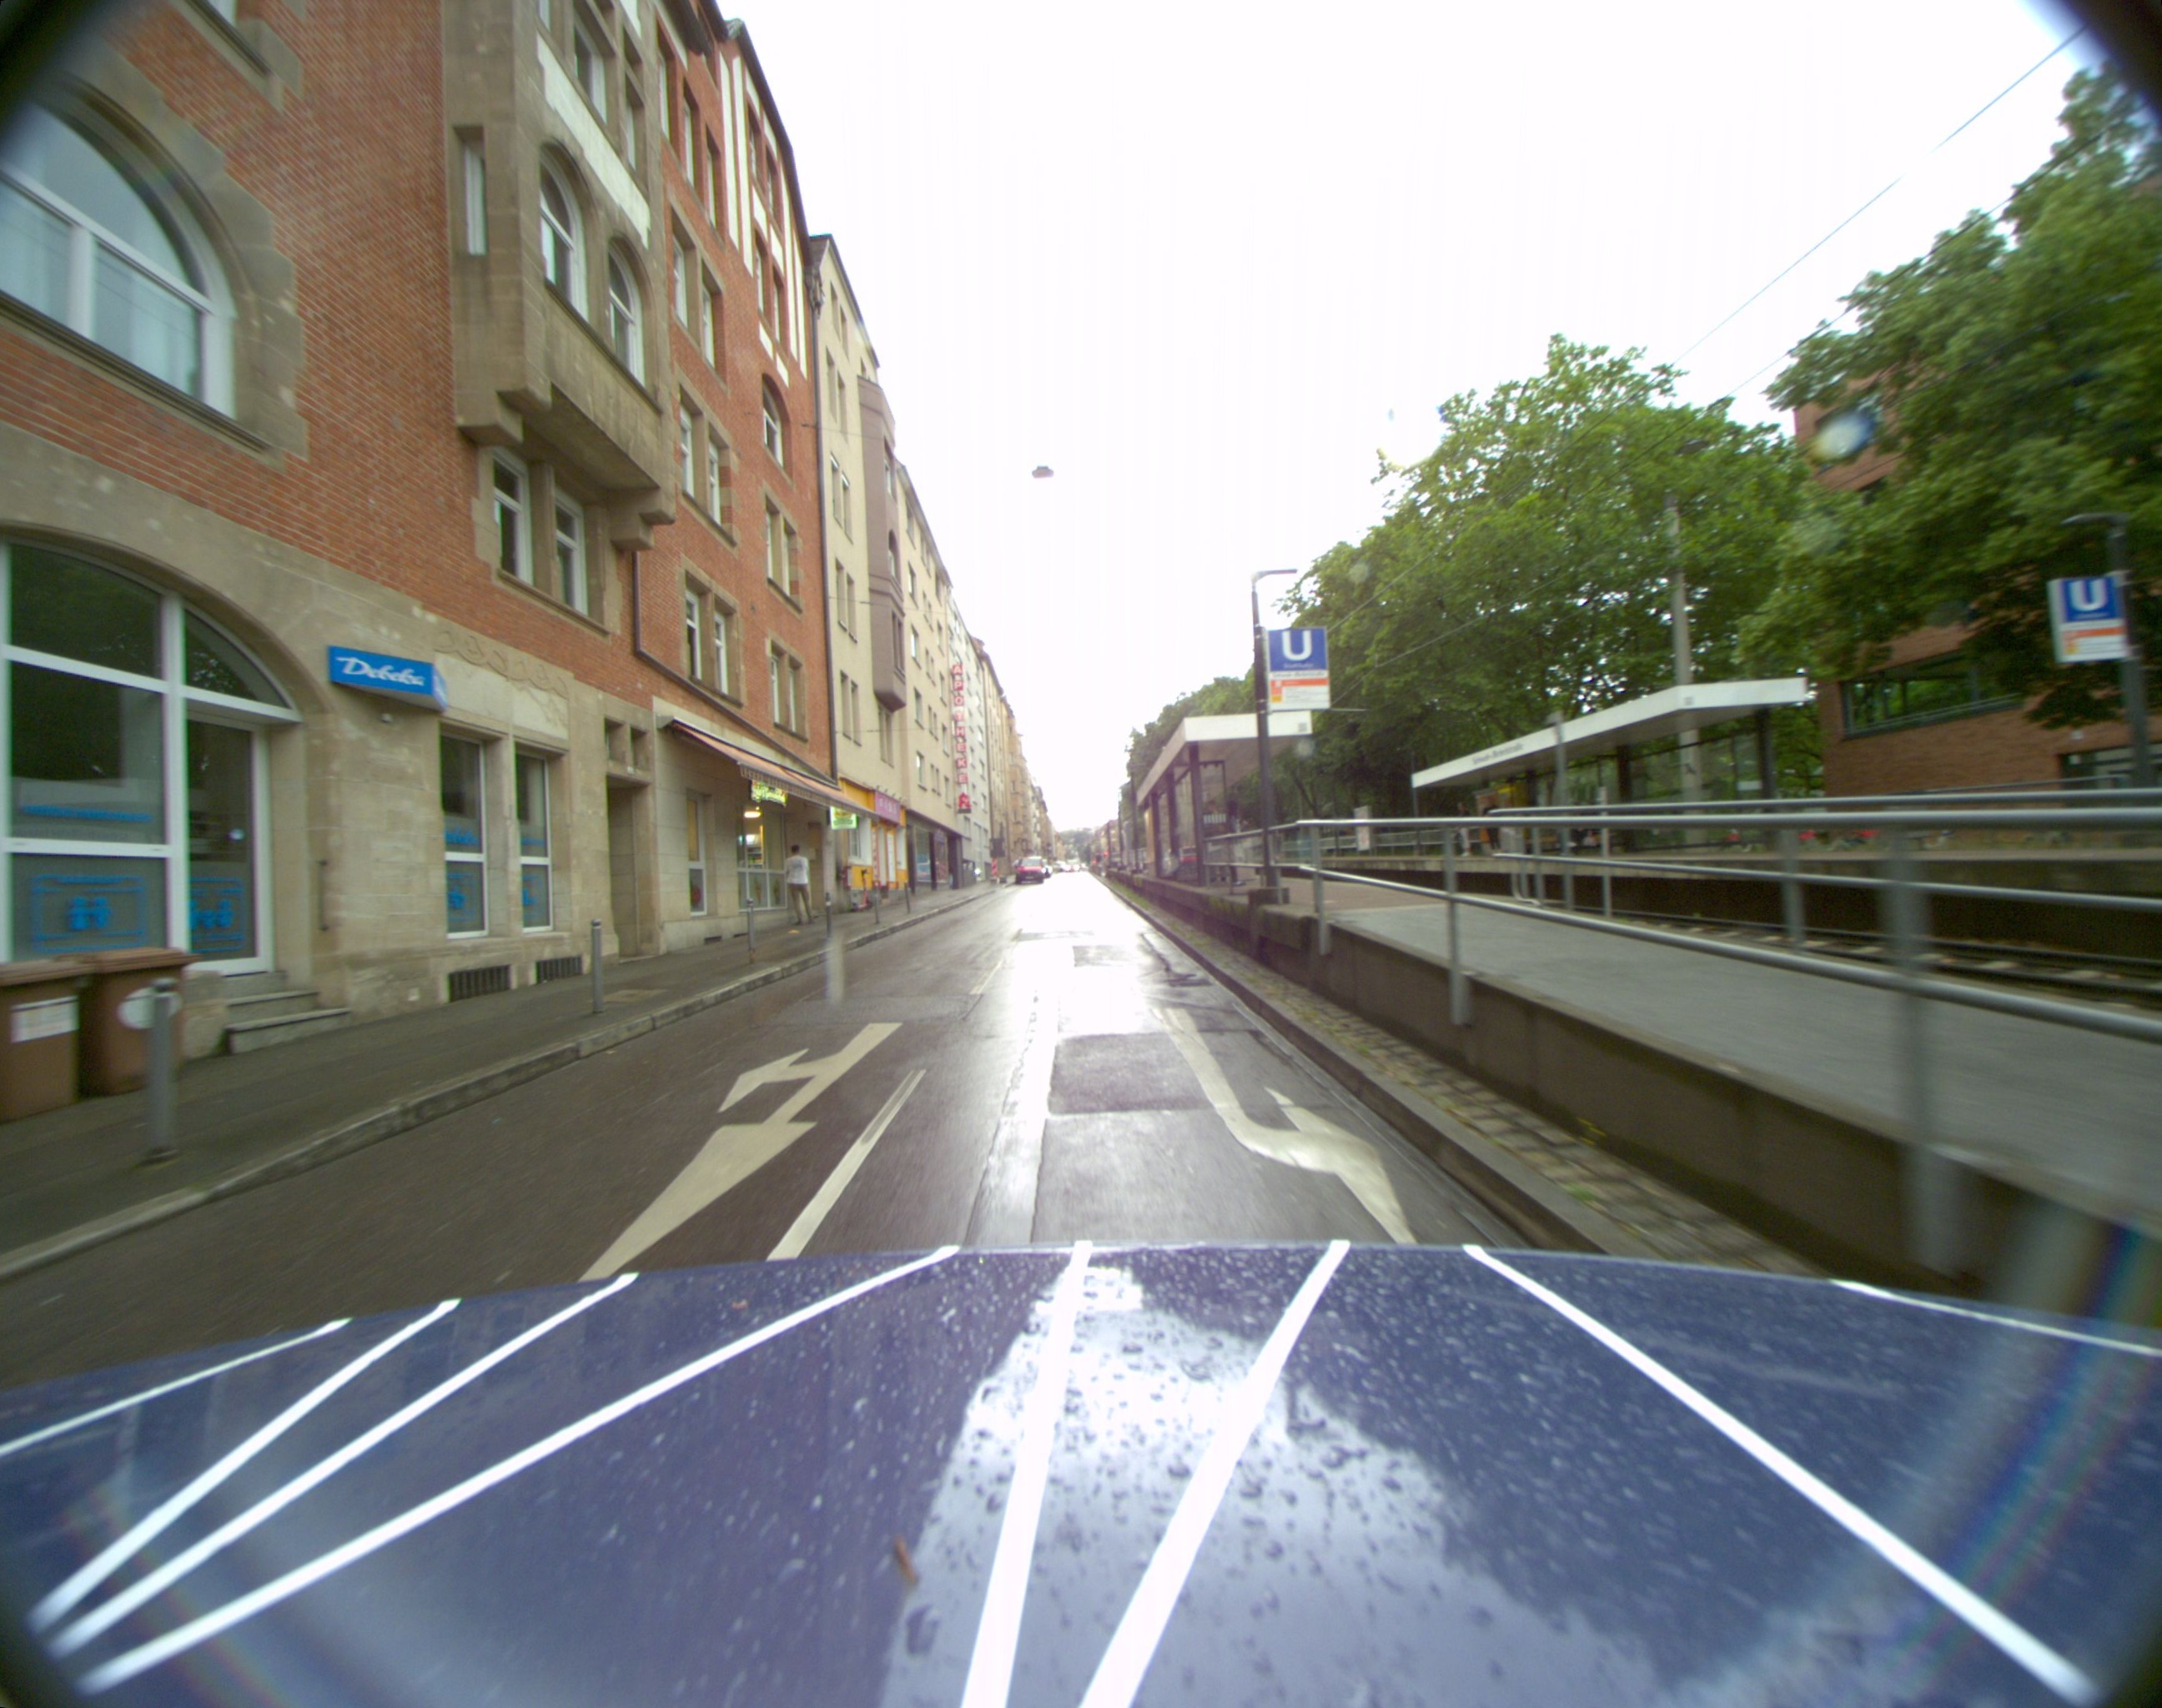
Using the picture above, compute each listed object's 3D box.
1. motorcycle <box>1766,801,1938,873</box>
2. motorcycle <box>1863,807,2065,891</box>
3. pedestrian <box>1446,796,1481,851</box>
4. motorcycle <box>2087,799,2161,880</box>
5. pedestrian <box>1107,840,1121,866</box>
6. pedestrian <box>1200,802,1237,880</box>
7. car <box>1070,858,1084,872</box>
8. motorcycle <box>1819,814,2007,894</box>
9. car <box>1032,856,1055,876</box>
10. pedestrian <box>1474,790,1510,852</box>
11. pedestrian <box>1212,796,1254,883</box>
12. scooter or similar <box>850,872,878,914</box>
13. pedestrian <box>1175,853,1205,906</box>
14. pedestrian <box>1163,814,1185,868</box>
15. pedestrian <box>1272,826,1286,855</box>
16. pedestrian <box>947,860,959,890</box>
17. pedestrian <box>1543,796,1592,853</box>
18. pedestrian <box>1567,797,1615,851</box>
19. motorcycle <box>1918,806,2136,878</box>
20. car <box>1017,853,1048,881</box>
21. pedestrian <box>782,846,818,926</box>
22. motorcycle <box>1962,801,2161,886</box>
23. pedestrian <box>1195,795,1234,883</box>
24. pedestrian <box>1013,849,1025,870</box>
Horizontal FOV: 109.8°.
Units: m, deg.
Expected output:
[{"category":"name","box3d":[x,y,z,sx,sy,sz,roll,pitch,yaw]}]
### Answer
[{"category":"motorcycle","box3d":[21.689,-0.459,21.424,3.874,1.763,1.006,-3,1,-2]},{"category":"motorcycle","box3d":[21.776,-0.119,18.787,3.874,1.805,1.006,-3,1,-2]},{"category":"pedestrian","box3d":[11.802,-0.921,23.465,0.688,1.631,0.564,-4,0,-2]},{"category":"motorcycle","box3d":[21.840,-0.366,14.565,3.874,1.479,1.006,-3,0,-2]},{"category":"pedestrian","box3d":[2.306,-0.075,53.082,0.861,1.788,0.787,-3,0,-1]},{"category":"pedestrian","box3d":[2.845,-0.265,15.721,0.615,1.572,0.507,-3,0,3]},{"category":"car","box3d":[-0.534,1.358,94.039,1.621,1.592,4.067,-2,-2,-1]},{"category":"motorcycle","box3d":[21.771,-0.003,19.936,3.874,1.805,1.006,-3,1,-2]},{"category":"car","box3d":[-3.401,1.077,69.954,1.770,1.698,4.499,-3,-1,0]},{"category":"pedestrian","box3d":[11.880,-0.939,21.979,0.564,1.705,0.706,-4,0,-2]},{"category":"pedestrian","box3d":[2.834,-0.260,14.210,0.615,1.572,0.507,-3,0,3]},{"category":"scooter or similar","box3d":[-6.438,1.143,22.573,0.258,1.214,1.195,-3,-1,9]},{"category":"pedestrian","box3d":[2.620,0.611,18.337,0.615,1.219,0.507,-3,0,3]},{"category":"pedestrian","box3d":[2.835,-0.379,23.125,0.496,1.595,0.637,-2,1,16]},{"category":"pedestrian","box3d":[11.495,-0.801,44.081,0.563,1.631,0.689,-4,0,6]},{"category":"pedestrian","box3d":[-7.081,1.149,41.983,0.483,1.635,0.330,-4,1,-27]},{"category":"pedestrian","box3d":[12.115,-0.730,18.930,0.779,1.354,0.564,-4,0,-2]},{"category":"pedestrian","box3d":[12.307,-0.711,18.350,0.705,1.233,0.564,-4,0,-2]},{"category":"motorcycle","box3d":[21.803,-0.267,17.556,3.874,1.399,1.006,-3,0,-2]},{"category":"car","box3d":[-3.390,0.872,53.784,1.980,1.827,5.244,-3,0,-2]},{"category":"pedestrian","box3d":[-6.545,0.723,17.681,0.562,1.820,0.580,2,2,43]},{"category":"motorcycle","box3d":[21.448,-0.235,16.355,3.874,1.596,1.006,-3,0,-2]},{"category":"pedestrian","box3d":[2.637,-0.291,15.090,0.615,1.678,0.587,-3,0,3]},{"category":"pedestrian","box3d":[-5.440,0.473,66.812,0.853,1.747,0.837,-4,0,0]}]
